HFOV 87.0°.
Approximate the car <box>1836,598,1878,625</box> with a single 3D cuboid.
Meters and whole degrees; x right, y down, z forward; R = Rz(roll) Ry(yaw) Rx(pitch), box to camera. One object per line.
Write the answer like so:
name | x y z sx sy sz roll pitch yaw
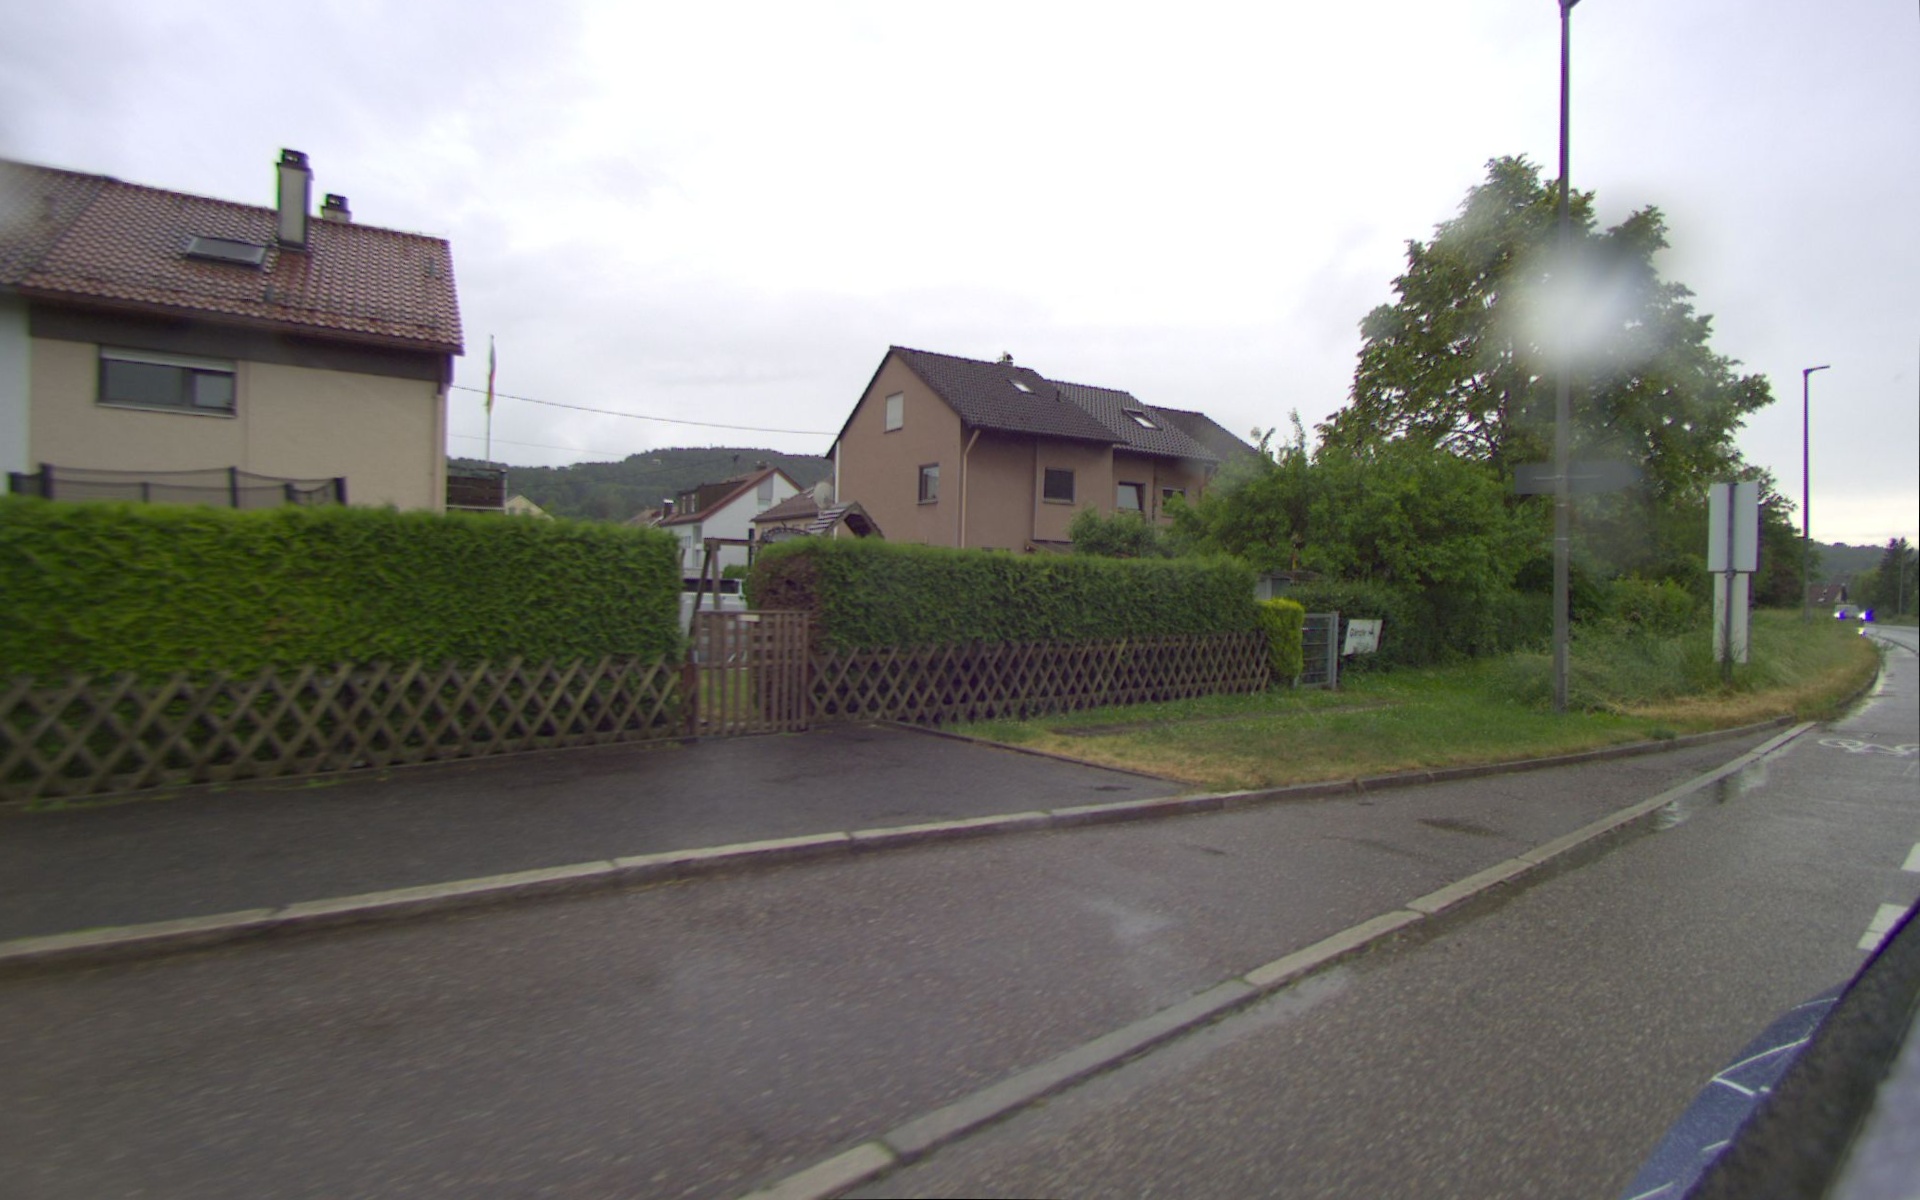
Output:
car | 64.890 0.820 73.261 1.990 1.865 3.944 2 1 39
